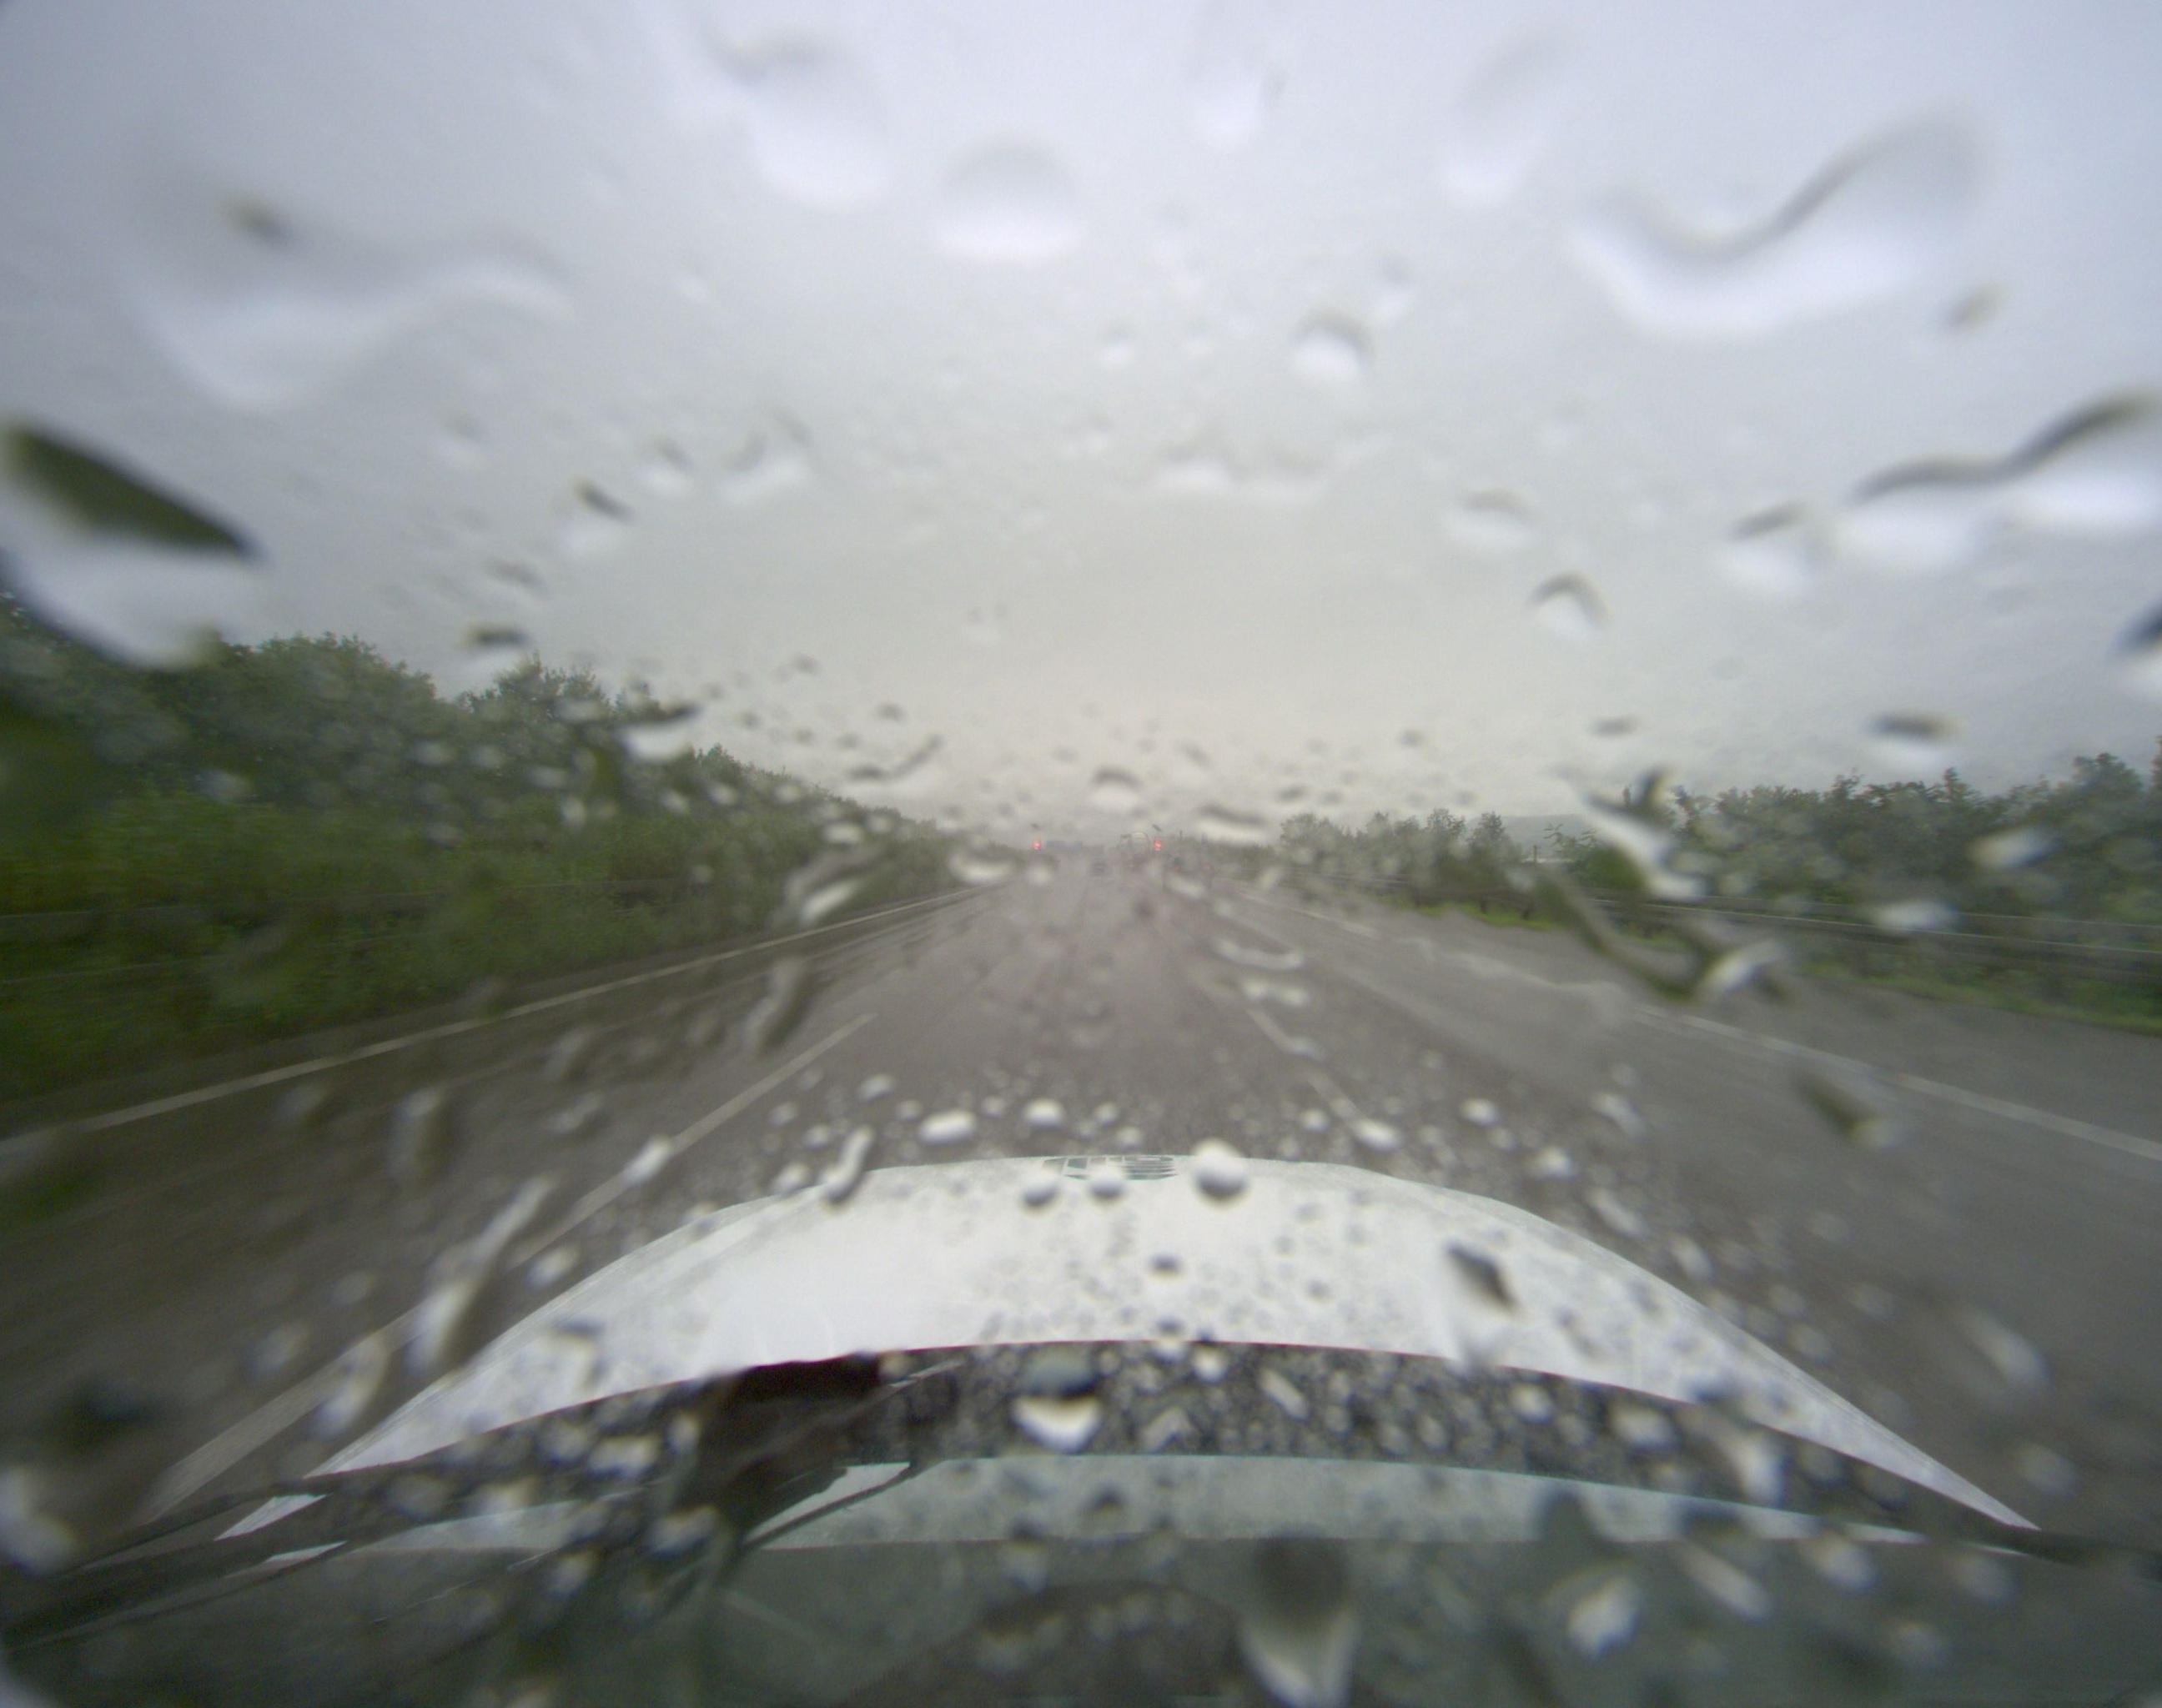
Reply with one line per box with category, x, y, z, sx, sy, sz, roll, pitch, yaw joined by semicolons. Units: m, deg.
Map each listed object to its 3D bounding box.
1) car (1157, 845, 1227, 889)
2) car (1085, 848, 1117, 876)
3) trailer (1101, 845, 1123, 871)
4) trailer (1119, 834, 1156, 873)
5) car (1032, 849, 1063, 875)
car;4.638;0.504;35.048;2.448;1.746;5.722;0;0;2
car;1.292;0.525;53.822;1.972;1.756;4.481;0;0;1
trailer;4.764;0.709;126.685;2.995;3.848;8.621;-1;-1;0
trailer;5.553;-0.048;82.185;3.177;3.670;11.668;-1;0;1
car;-2.291;0.548;56.879;1.919;1.741;4.404;0;0;1
